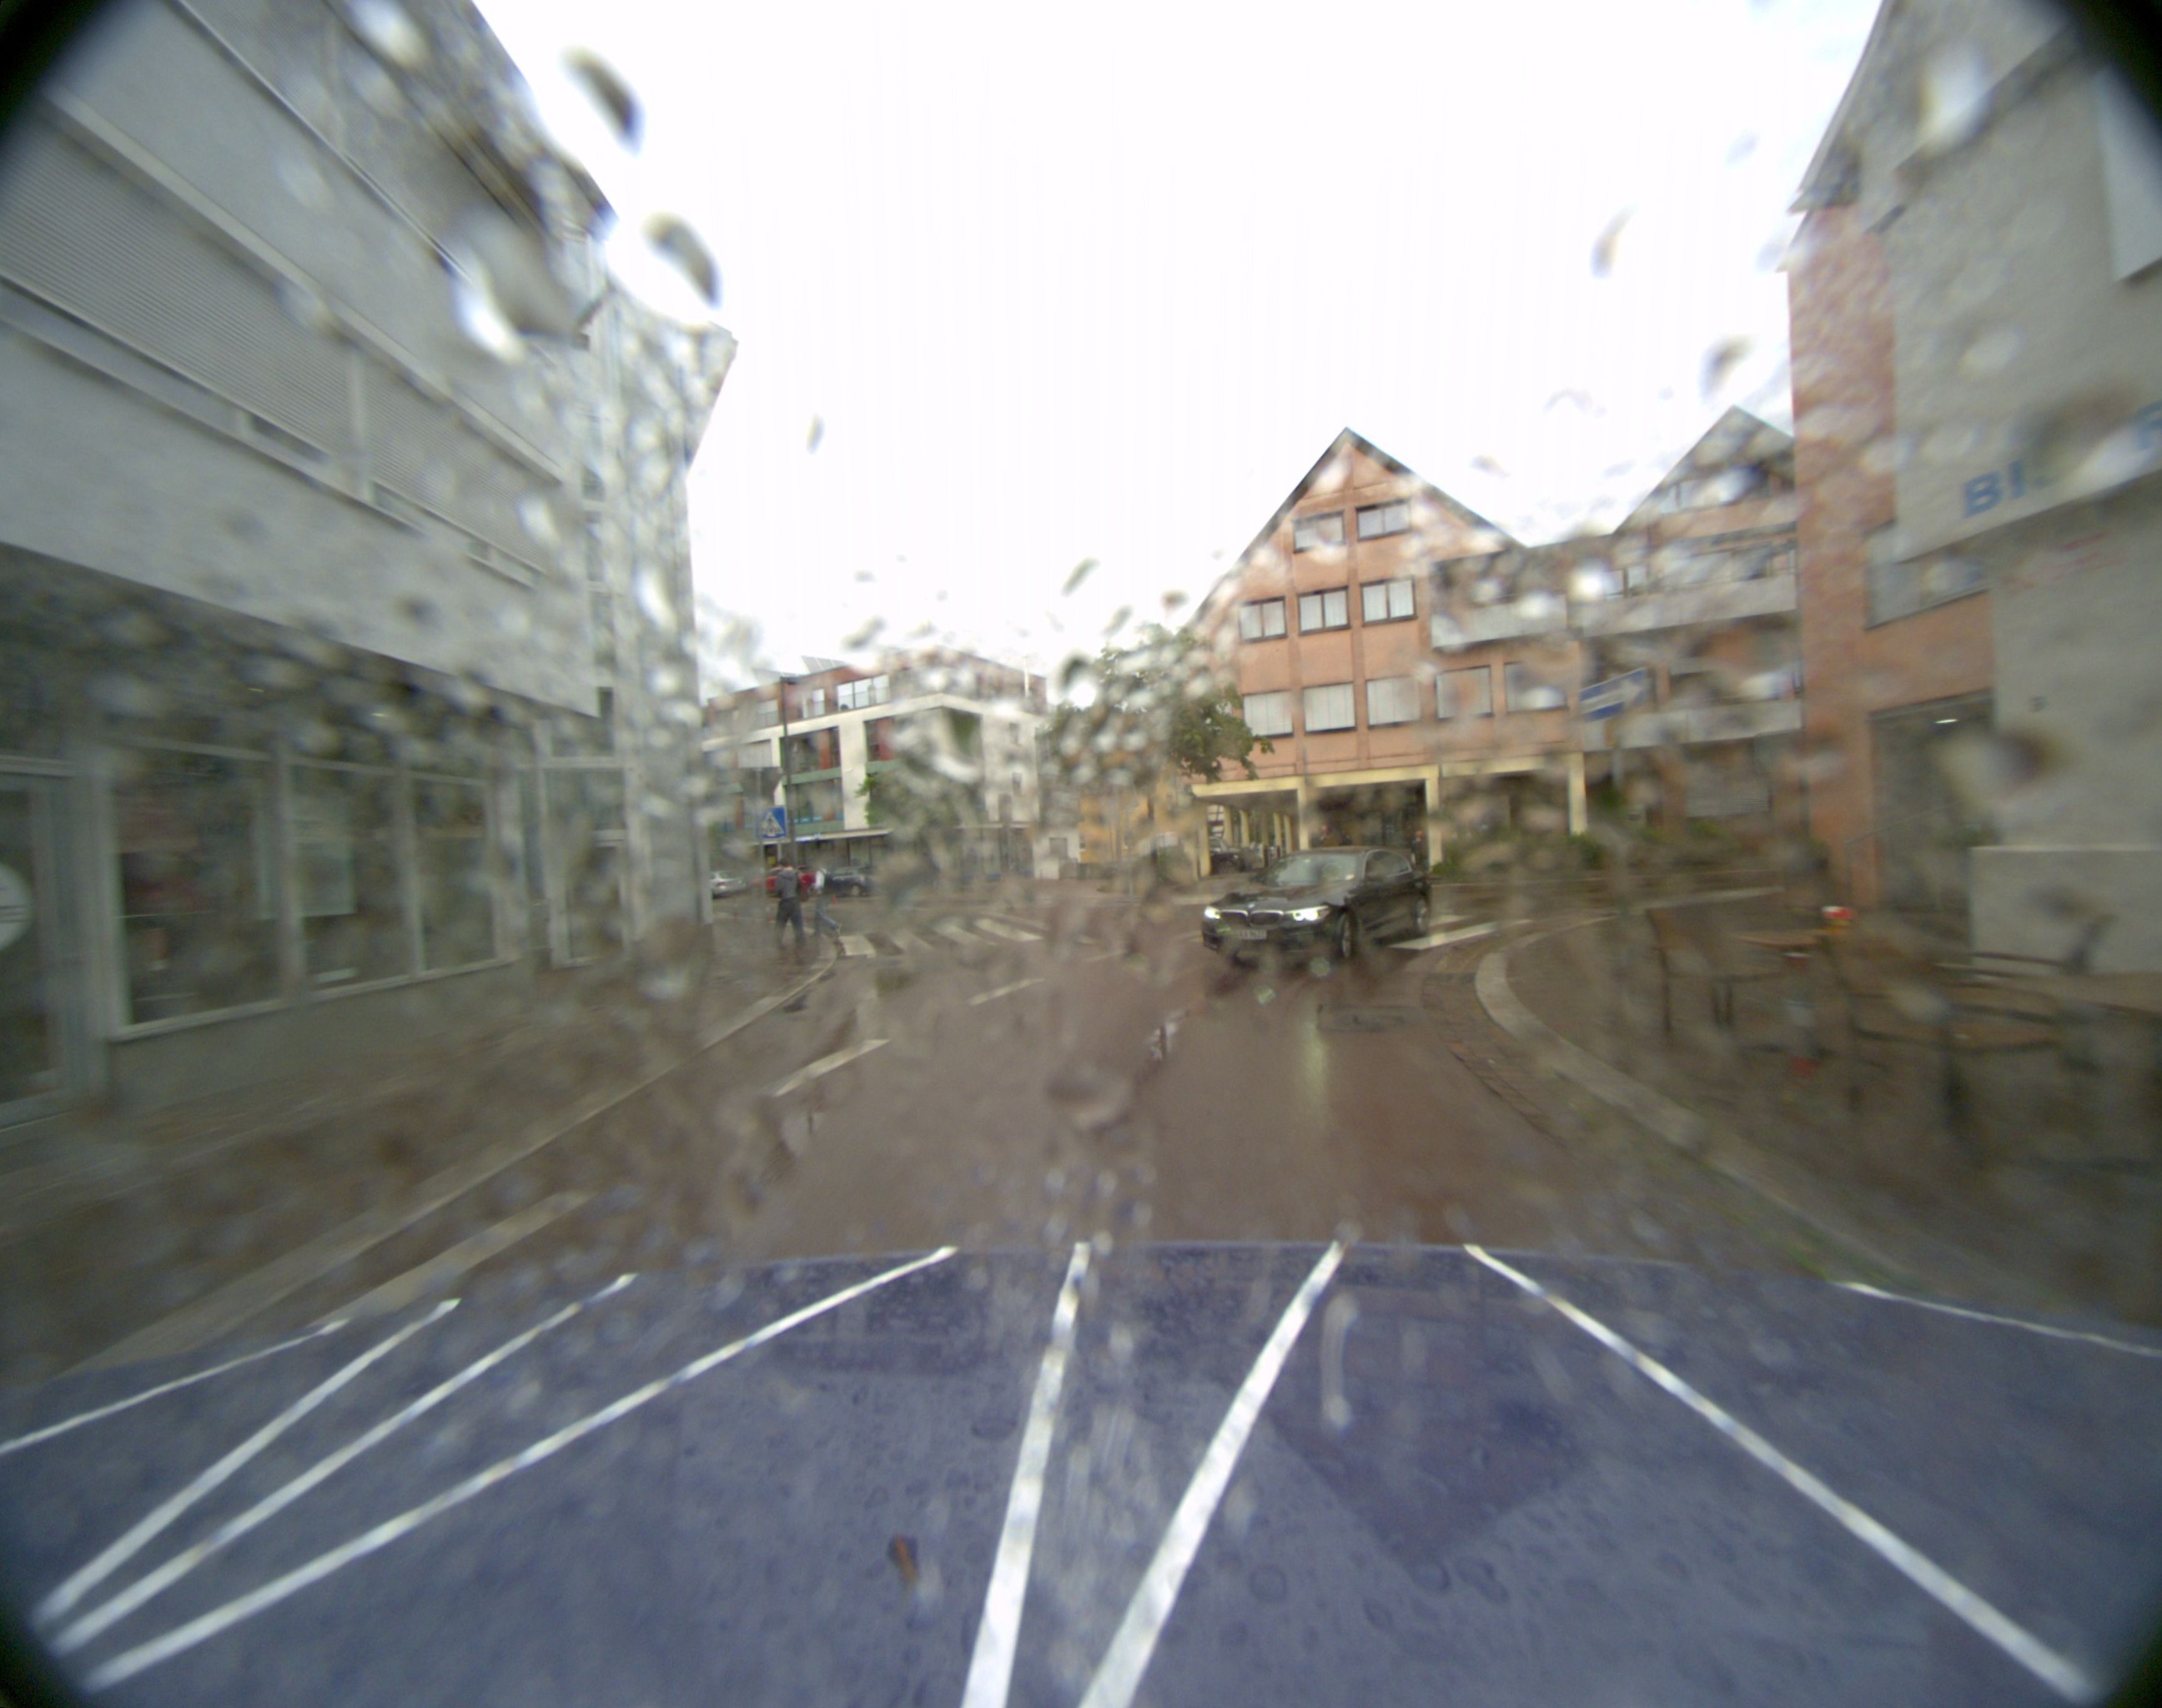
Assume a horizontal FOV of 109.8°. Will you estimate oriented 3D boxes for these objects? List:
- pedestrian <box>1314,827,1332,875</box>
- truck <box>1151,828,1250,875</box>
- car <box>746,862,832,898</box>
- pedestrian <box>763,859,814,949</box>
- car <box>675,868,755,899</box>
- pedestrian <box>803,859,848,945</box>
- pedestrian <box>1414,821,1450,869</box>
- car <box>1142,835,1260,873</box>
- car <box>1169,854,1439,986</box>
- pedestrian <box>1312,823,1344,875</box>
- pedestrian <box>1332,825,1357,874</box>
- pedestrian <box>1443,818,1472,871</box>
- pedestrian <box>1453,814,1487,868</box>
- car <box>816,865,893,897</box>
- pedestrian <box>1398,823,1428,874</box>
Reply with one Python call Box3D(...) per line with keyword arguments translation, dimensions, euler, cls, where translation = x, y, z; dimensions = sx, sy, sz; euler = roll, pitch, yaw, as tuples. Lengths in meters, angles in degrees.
Box3D(translation=(8.590, -0.119, 26.974), dimensions=(0.519, 1.654, 0.542), euler=(-3, 1, 21), cls="pedestrian")
Box3D(translation=(5.307, -0.108, 33.708), dimensions=(3.991, 1.798, 1.770), euler=(-3, 1, 21), cls="truck")
Box3D(translation=(-14.668, 1.307, 38.153), dimensions=(3.990, 1.493, 1.631), euler=(-3, 4, 26), cls="car")
Box3D(translation=(-6.201, 1.028, 16.100), dimensions=(0.695, 1.790, 1.056), euler=(-4, 1, -32), cls="pedestrian")
Box3D(translation=(-19.749, 1.574, 40.958), dimensions=(3.990, 1.406, 1.622), euler=(-2, 4, 25), cls="car")
Box3D(translation=(-5.712, 1.042, 16.950), dimensions=(0.666, 1.796, 1.059), euler=(-4, 1, -28), cls="pedestrian")
Box3D(translation=(12.058, -0.310, 26.109), dimensions=(0.798, 1.609, 0.707), euler=(-4, 1, -30), cls="pedestrian")
Box3D(translation=(4.921, -0.002, 31.162), dimensions=(4.462, 1.268, 1.770), euler=(-3, 1, 21), cls="car")
Box3D(translation=(3.427, 0.780, 11.089), dimensions=(1.943, 1.394, 4.428), euler=(-1, 1, 43), cls="car")
Box3D(translation=(8.516, -0.171, 26.176), dimensions=(0.890, 1.739, 0.737), euler=(-3, 1, 21), cls="pedestrian")
Box3D(translation=(9.367, -0.173, 26.992), dimensions=(0.741, 1.680, 0.636), euler=(-3, 1, 22), cls="pedestrian")
Box3D(translation=(12.503, -0.325, 25.246), dimensions=(0.731, 1.680, 0.726), euler=(-3, 1, 22), cls="pedestrian")
Box3D(translation=(12.462, -0.422, 24.370), dimensions=(0.819, 1.652, 0.699), euler=(-3, 1, 20), cls="pedestrian")
Box3D(translation=(-10.611, 1.228, 35.522), dimensions=(3.364, 1.355, 1.544), euler=(0, 4, 33), cls="car")
Box3D(translation=(11.048, -0.188, 25.269), dimensions=(0.823, 1.595, 0.745), euler=(-2, 4, 26), cls="pedestrian")
